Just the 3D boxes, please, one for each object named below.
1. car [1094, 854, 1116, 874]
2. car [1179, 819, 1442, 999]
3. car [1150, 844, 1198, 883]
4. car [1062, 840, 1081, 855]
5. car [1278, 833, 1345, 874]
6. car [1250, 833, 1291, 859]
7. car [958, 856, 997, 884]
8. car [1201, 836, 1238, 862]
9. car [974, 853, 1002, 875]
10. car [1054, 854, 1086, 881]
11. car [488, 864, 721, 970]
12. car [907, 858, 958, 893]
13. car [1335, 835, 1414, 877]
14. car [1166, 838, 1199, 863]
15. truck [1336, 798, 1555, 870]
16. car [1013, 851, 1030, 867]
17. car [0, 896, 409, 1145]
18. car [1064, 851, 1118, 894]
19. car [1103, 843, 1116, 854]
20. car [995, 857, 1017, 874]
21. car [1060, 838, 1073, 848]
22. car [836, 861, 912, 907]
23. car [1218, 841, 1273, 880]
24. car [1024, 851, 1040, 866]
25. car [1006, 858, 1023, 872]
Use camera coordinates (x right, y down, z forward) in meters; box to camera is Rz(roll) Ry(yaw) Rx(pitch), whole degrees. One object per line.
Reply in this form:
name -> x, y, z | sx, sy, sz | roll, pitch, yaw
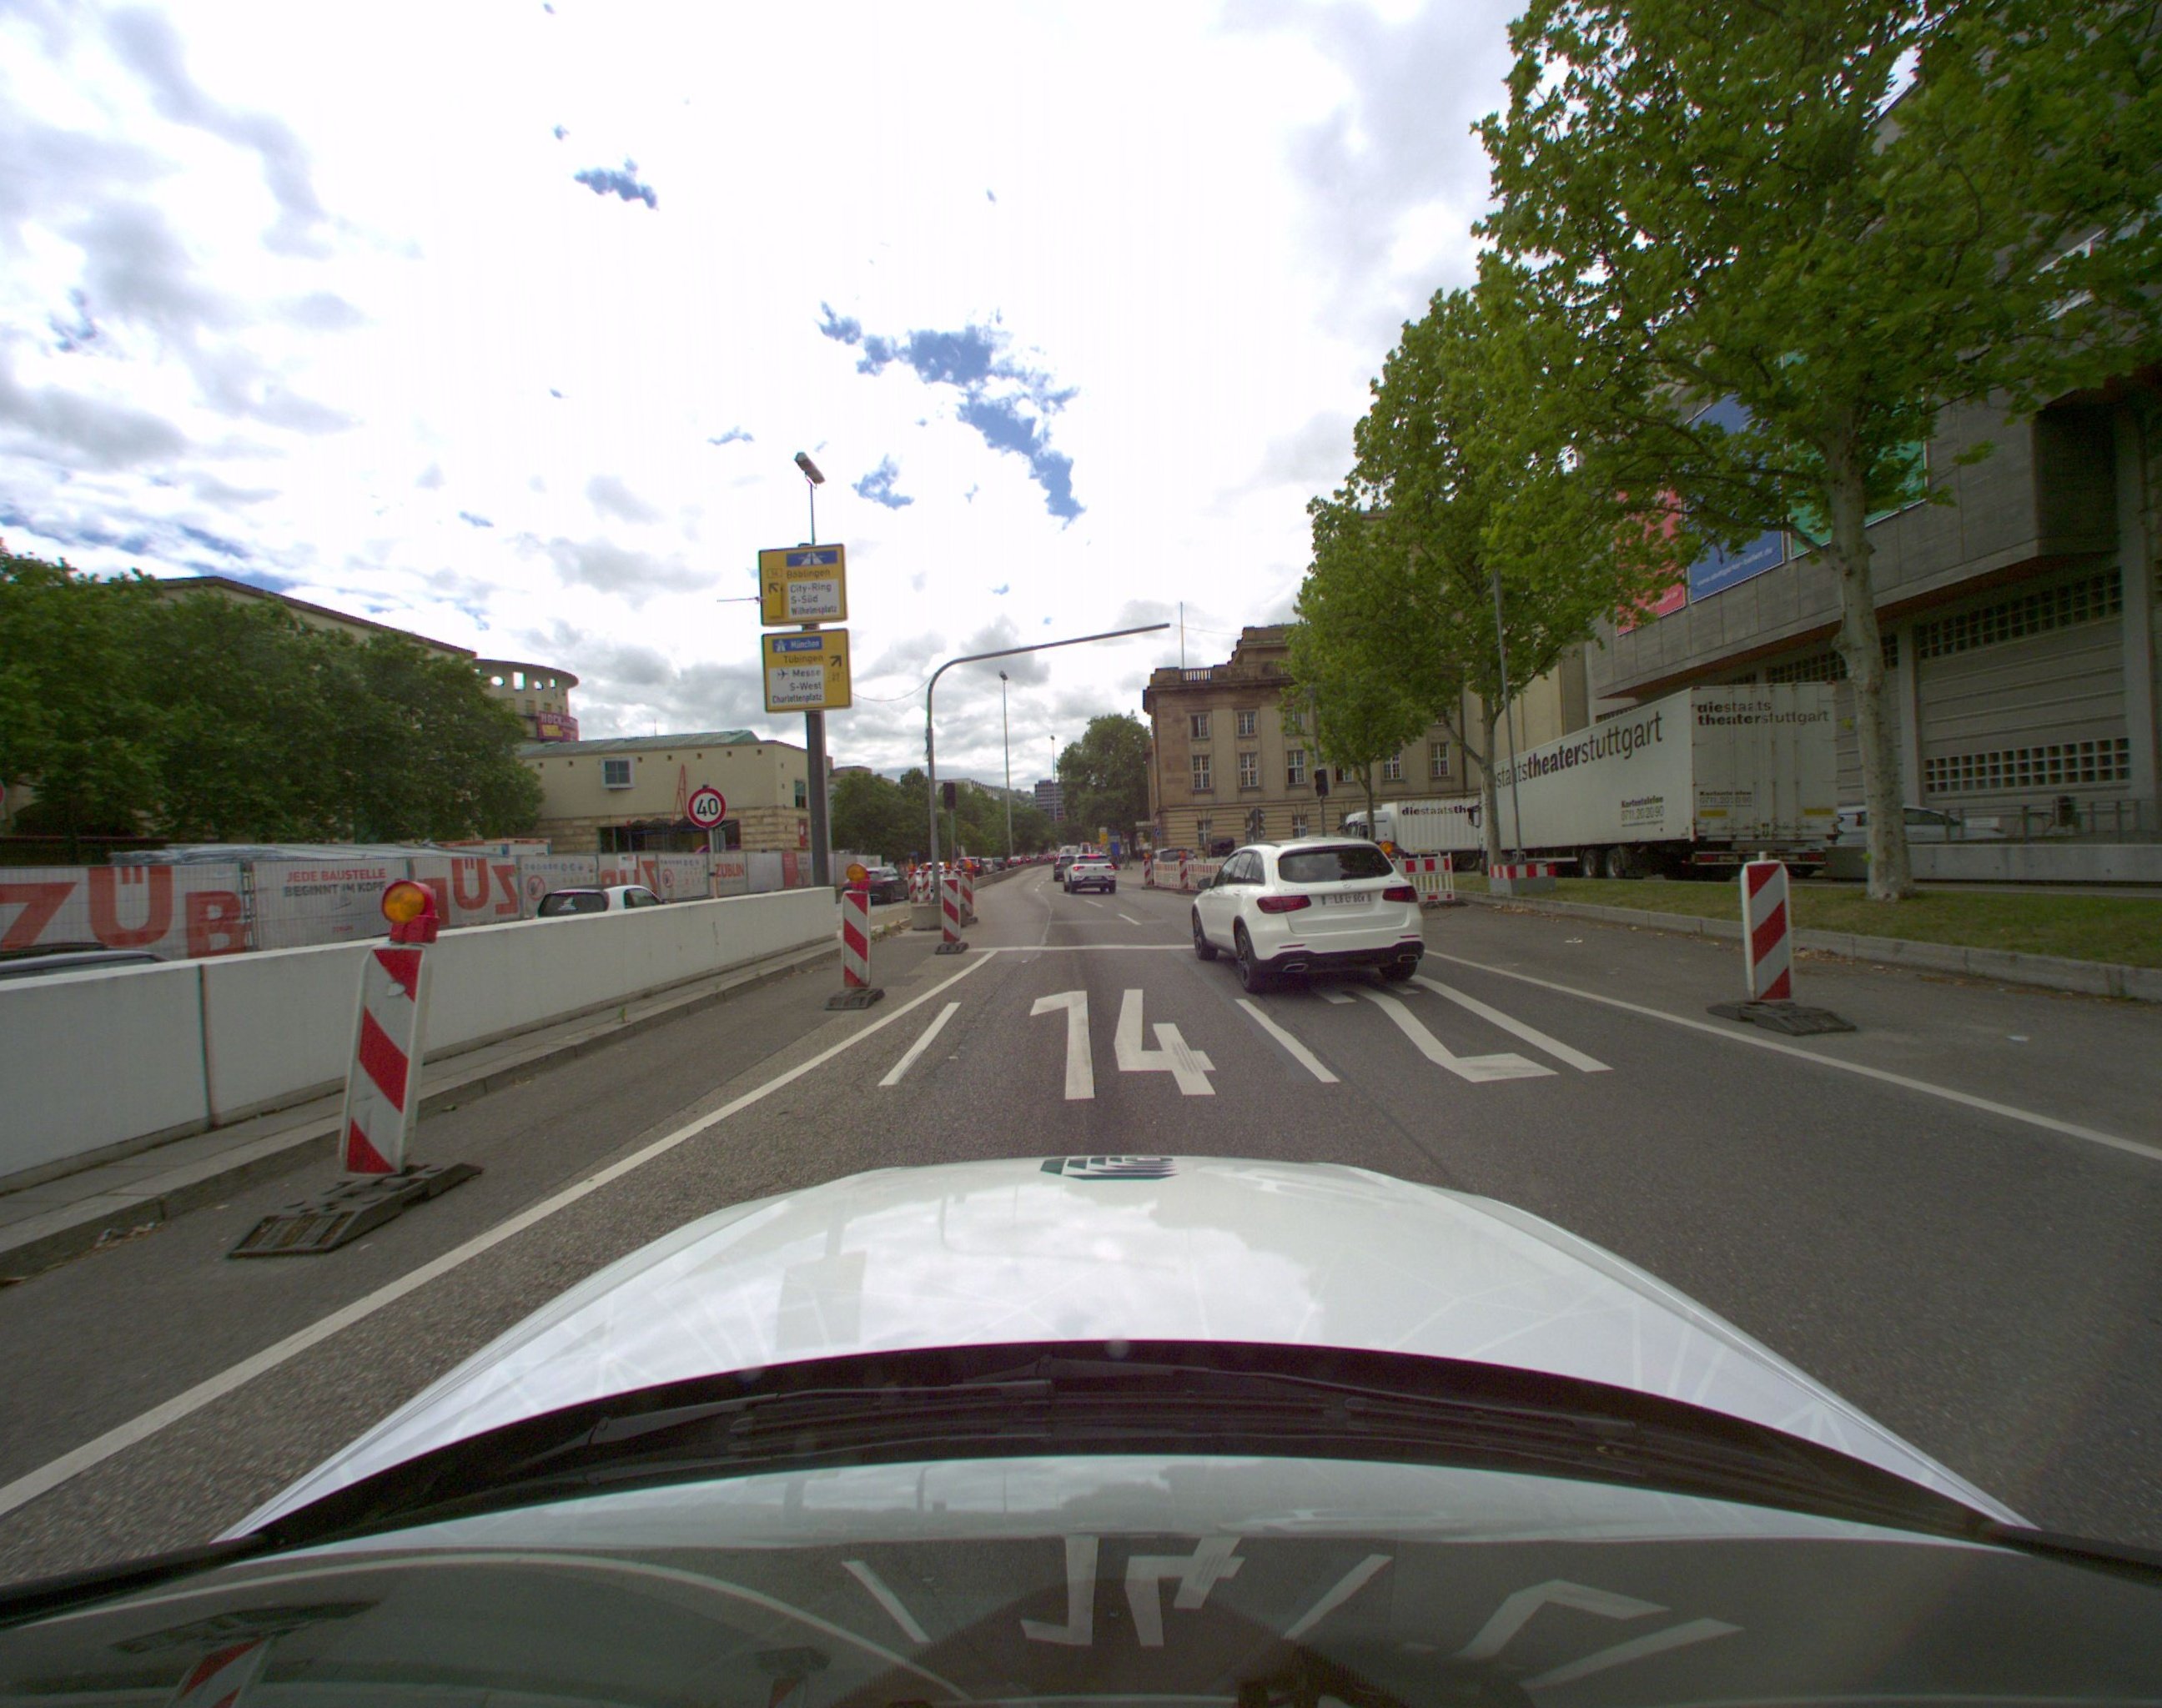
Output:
car -> 2.122, 0.850, 71.225 | 1.816, 1.567, 4.482 | 0, 1, 2
car -> 2.565, 0.538, 10.377 | 1.807, 1.642, 4.548 | -5, 0, -2
car -> 4.097, 0.426, 36.311 | 1.744, 1.568, 4.333 | -3, -1, 2
car -> -1.692, -1.203, 149.109 | 2.569, 2.374, 5.536 | -4, 0, 6
car -> 9.728, -0.004, 34.705 | 1.744, 1.568, 4.333 | -3, -1, 2
car -> 12.812, -0.515, 55.254 | 1.849, 1.568, 4.333 | -3, -1, 2
car -> -6.636, 1.033, 52.466 | 1.743, 1.567, 3.380 | -5, 0, 3
car -> 9.297, -0.313, 54.840 | 1.849, 1.568, 4.333 | -3, -1, 2
car -> -7.377, 0.773, 65.030 | 1.745, 1.568, 4.330 | -3, 0, 0
car -> -0.724, 0.809, 51.028 | 1.819, 1.567, 4.474 | 0, 0, -3
car -> -8.966, 1.100, 15.802 | 1.986, 1.641, 4.002 | -3, 0, 2
car -> -7.483, 1.057, 41.381 | 1.743, 1.567, 3.380 | -3, 0, 3
car -> 12.147, 0.119, 34.031 | 1.849, 1.568, 4.333 | -3, -1, 2
car -> 6.876, -0.177, 55.613 | 1.849, 1.568, 4.333 | -3, -1, 2
truck -> 18.625, -0.975, 42.067 | 9.989, 3.050, 2.570 | -3, -1, 2
car -> -8.168, 0.642, 111.676 | 1.988, 2.013, 3.999 | -3, 2, -1
car -> -8.912, 1.368, 7.481 | 1.986, 1.641, 4.002 | -3, 0, 2
car -> 0.325, 0.723, 33.243 | 1.748, 1.568, 4.324 | -3, 0, -5
car -> 6.629, -1.342, 187.801 | 2.569, 2.374, 5.536 | -4, 0, 6
car -> -7.284, 1.116, 79.712 | 1.745, 1.568, 4.329 | -3, 0, -1
car -> -3.962, -3.019, 221.579 | 2.569, 2.374, 5.536 | -4, 0, 6
car -> -7.969, 1.105, 31.728 | 1.745, 1.568, 4.331 | -3, 0, 1
car -> 7.370, 0.311, 36.849 | 1.744, 1.568, 4.333 | -3, -1, 2
car -> -7.255, 0.626, 121.692 | 1.987, 2.013, 4.001 | -3, 2, 0
car -> -8.318, 1.389, 102.180 | 1.745, 1.568, 4.330 | -3, 0, -1
